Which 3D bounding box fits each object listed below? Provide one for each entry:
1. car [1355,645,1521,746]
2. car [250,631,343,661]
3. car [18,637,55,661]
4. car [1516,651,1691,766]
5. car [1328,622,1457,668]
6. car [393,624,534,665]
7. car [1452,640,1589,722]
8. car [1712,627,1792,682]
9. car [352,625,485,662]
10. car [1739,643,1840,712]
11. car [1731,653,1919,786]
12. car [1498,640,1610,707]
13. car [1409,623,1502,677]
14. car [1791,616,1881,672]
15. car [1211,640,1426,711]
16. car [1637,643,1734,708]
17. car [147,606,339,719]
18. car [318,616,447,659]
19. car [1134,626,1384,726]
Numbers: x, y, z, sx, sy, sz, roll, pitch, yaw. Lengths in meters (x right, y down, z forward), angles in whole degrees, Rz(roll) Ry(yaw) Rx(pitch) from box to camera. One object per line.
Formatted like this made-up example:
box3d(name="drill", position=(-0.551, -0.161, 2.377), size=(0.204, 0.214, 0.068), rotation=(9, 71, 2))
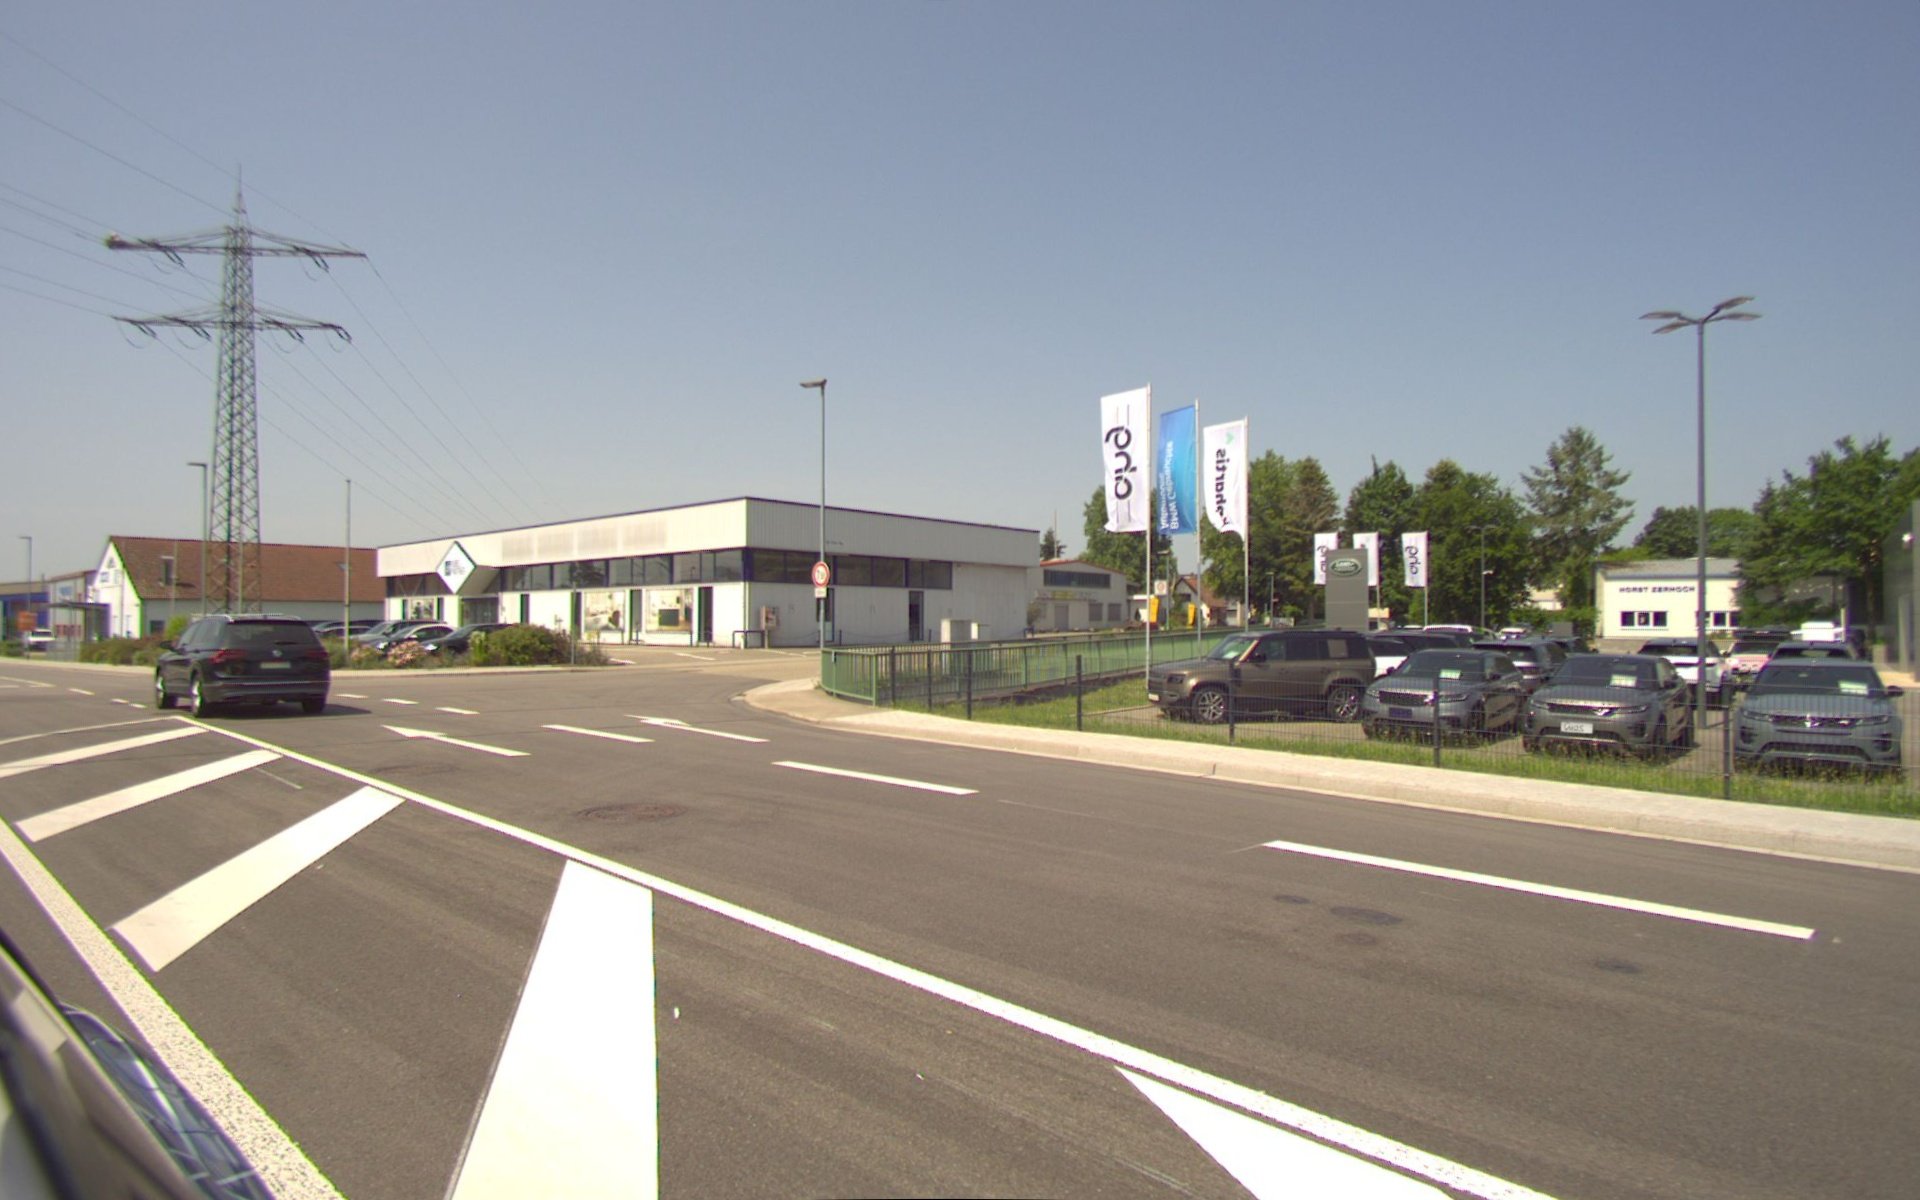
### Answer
box3d(name="car", position=(8.989, 1.681, 18.874), size=(1.885, 1.644, 3.947), rotation=(-2, -3, 39))
box3d(name="car", position=(-32.247, 2.216, 49.249), size=(1.503, 1.263, 3.475), rotation=(-2, 0, 39))
box3d(name="car", position=(-82.802, 4.357, 90.713), size=(4.680, 2.029, 1.972), rotation=(-1, -2, 42))
box3d(name="car", position=(10.828, 1.686, 16.904), size=(1.975, 1.644, 3.947), rotation=(-2, -3, 39))
box3d(name="car", position=(17.328, 1.798, 40.682), size=(1.937, 1.747, 4.322), rotation=(1, -3, -43))
box3d(name="car", position=(-17.854, 1.597, 36.541), size=(1.831, 1.405, 4.184), rotation=(-2, -3, 37))
box3d(name="car", position=(12.686, 1.743, 22.799), size=(1.975, 1.677, 3.947), rotation=(-2, -3, 39))
box3d(name="car", position=(22.880, 1.535, 29.197), size=(1.684, 1.456, 3.647), rotation=(-2, -3, 39))
box3d(name="car", position=(-20.894, 1.677, 39.196), size=(1.831, 1.325, 4.184), rotation=(-2, -3, 37))
box3d(name="car", position=(19.495, 1.761, 23.823), size=(1.684, 1.456, 3.647), rotation=(-2, -3, 39))
box3d(name="car", position=(12.854, 1.646, 15.098), size=(1.975, 1.644, 3.947), rotation=(-2, -3, 39))
box3d(name="car", position=(16.057, 1.913, 27.273), size=(1.975, 1.677, 3.947), rotation=(-2, -3, 39))
box3d(name="car", position=(17.194, 1.704, 35.020), size=(1.965, 1.747, 4.261), rotation=(-2, -3, 39))
box3d(name="car", position=(23.766, 1.175, 27.547), size=(1.684, 1.432, 3.647), rotation=(-2, -3, 39))
box3d(name="car", position=(8.551, 1.774, 24.348), size=(4.439, 1.574, 1.929), rotation=(0, -1, -6))
box3d(name="car", position=(18.040, 1.810, 25.108), size=(1.684, 1.456, 3.647), rotation=(-2, -3, 39))
box3d(name="car", position=(-12.383, 1.025, 17.384), size=(4.290, 1.686, 1.857), rotation=(-2, -3, 43))
box3d(name="car", position=(-23.401, 1.542, 41.118), size=(1.831, 1.660, 4.184), rotation=(-2, -3, 37))
box3d(name="car", position=(6.231, 1.532, 21.316), size=(4.602, 1.879, 2.071), rotation=(0, 0, -11))
